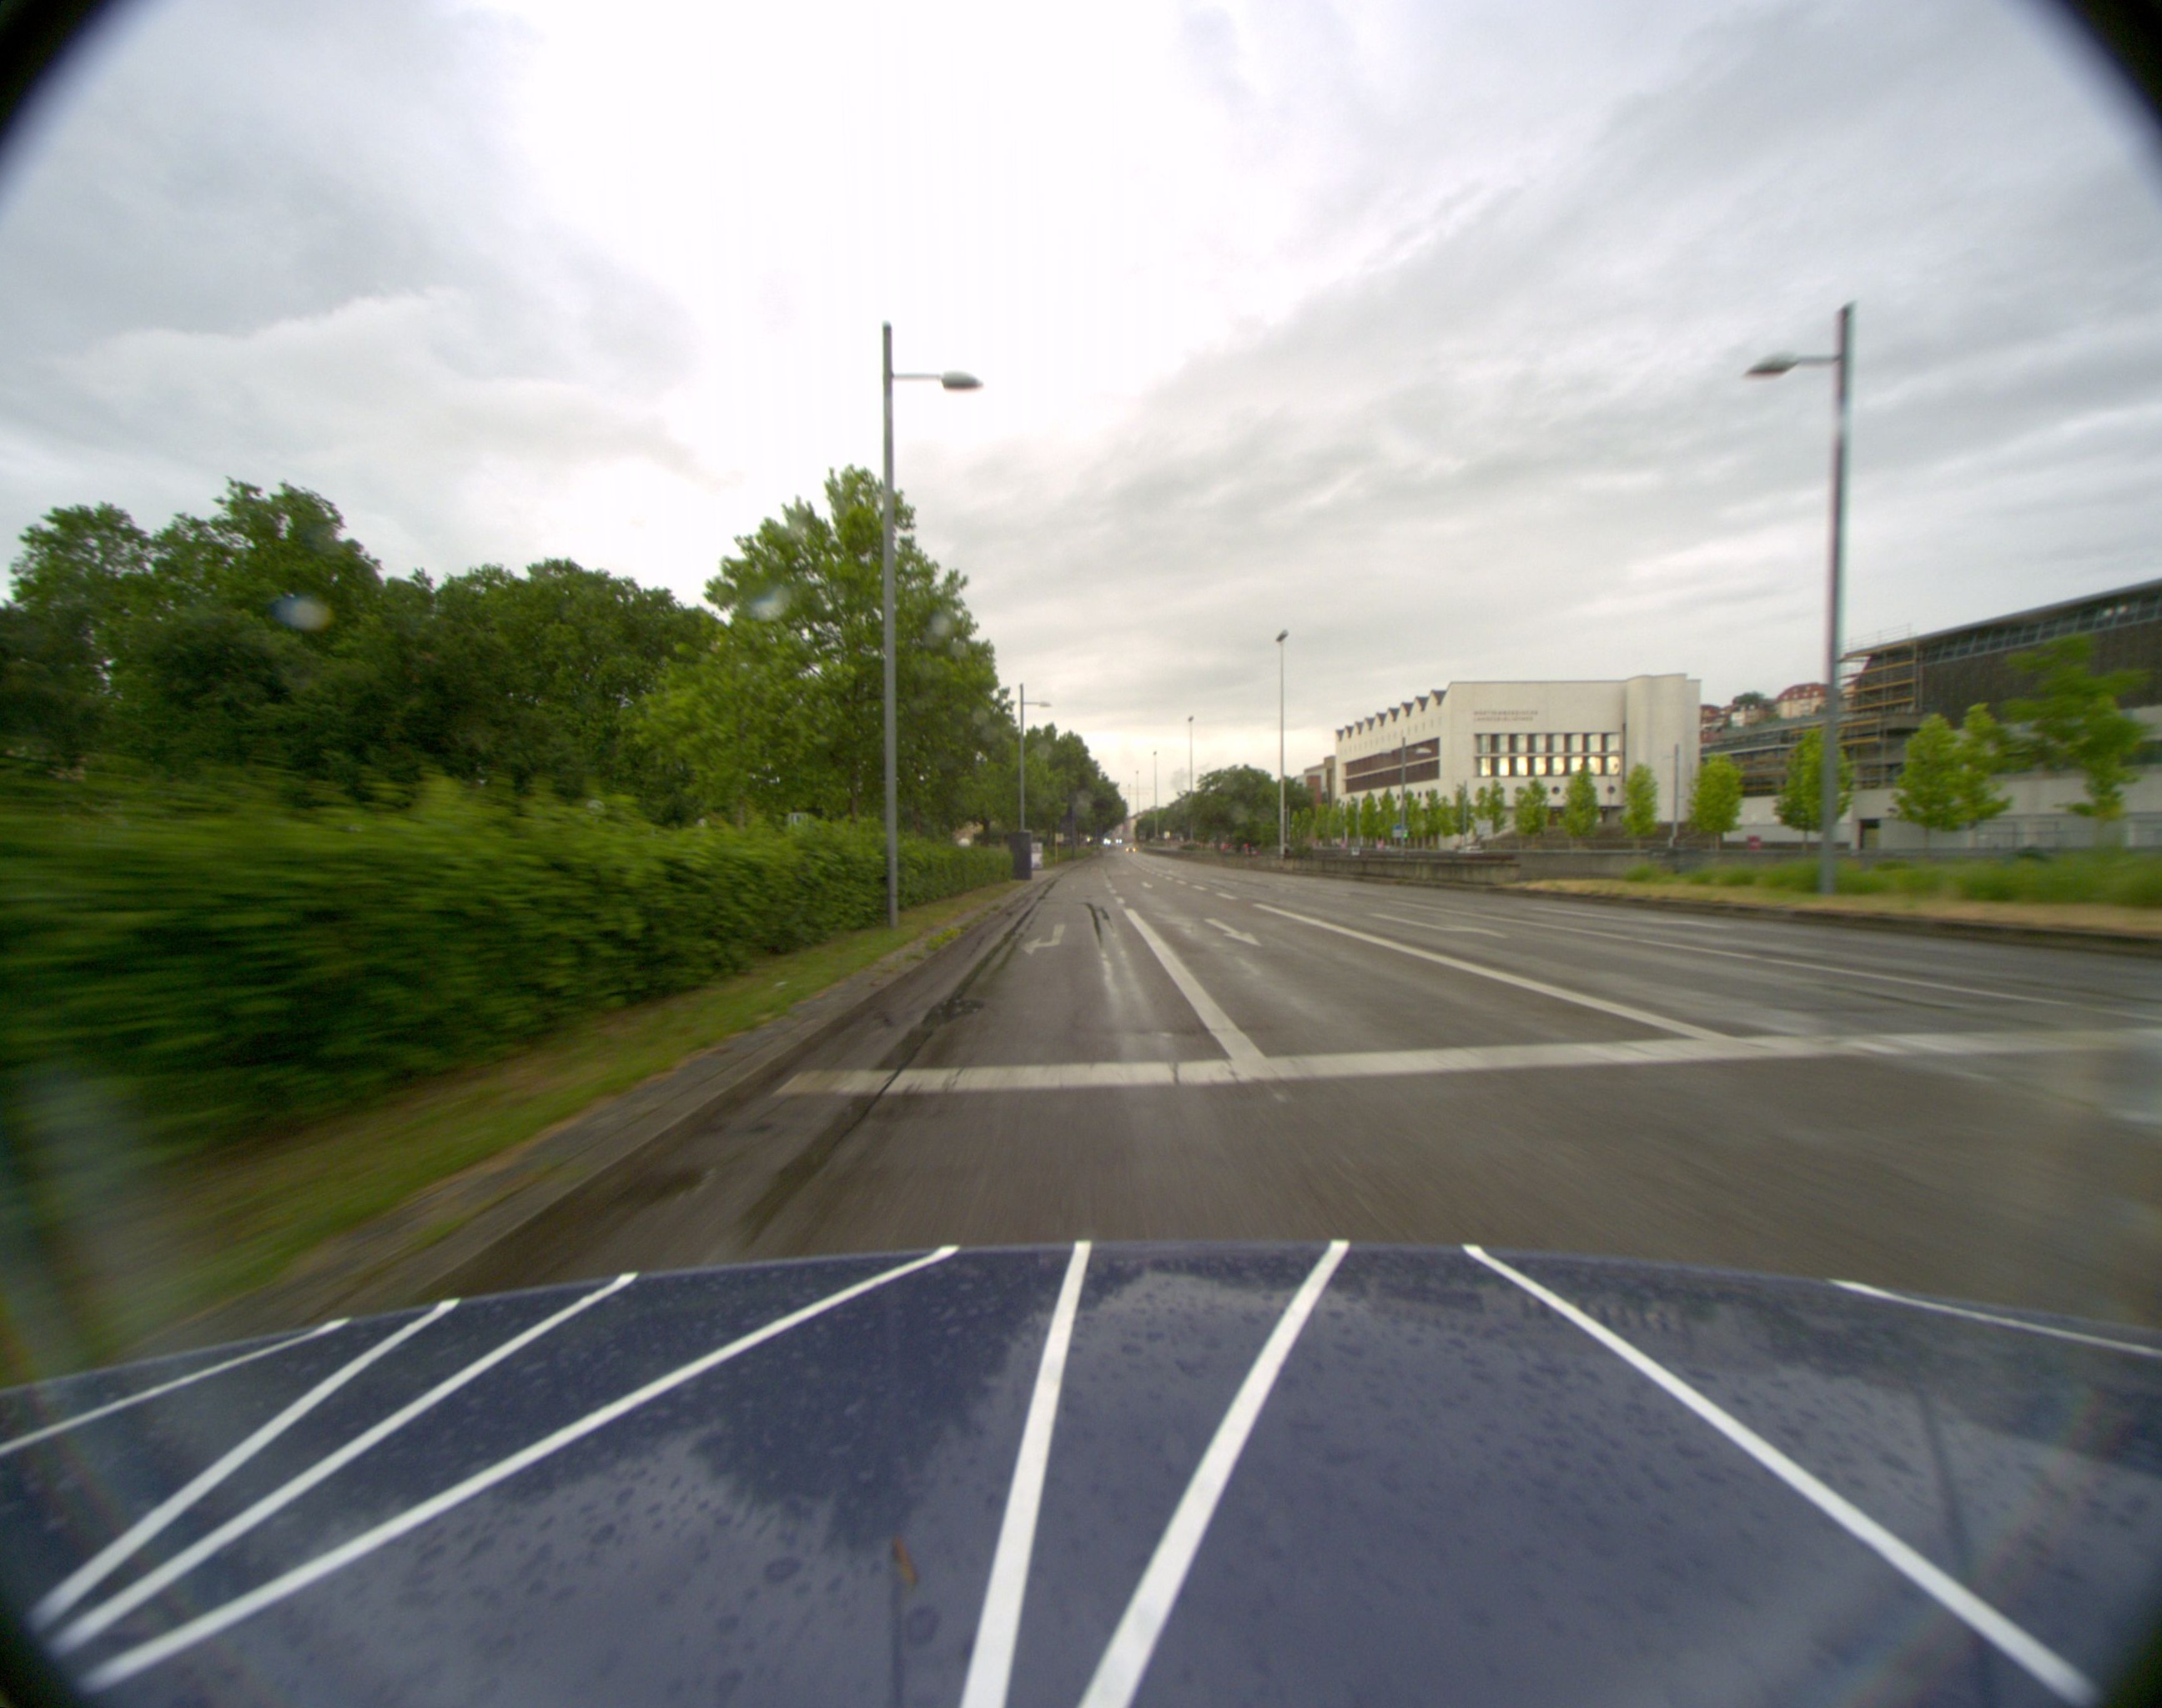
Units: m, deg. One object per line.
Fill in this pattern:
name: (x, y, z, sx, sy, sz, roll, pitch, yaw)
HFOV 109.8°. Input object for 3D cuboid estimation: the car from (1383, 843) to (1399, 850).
car: (39.429, -0.993, 96.697, 0.821, 0.741, 2.552, -2, 3, -3)

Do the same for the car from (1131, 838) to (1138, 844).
car: (11.544, -2.715, 164.041, 1.517, 1.138, 2.760, -2, 3, 5)

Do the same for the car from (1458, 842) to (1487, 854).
car: (40.929, -0.622, 79.530, 1.444, 1.108, 3.019, -2, 3, 0)
